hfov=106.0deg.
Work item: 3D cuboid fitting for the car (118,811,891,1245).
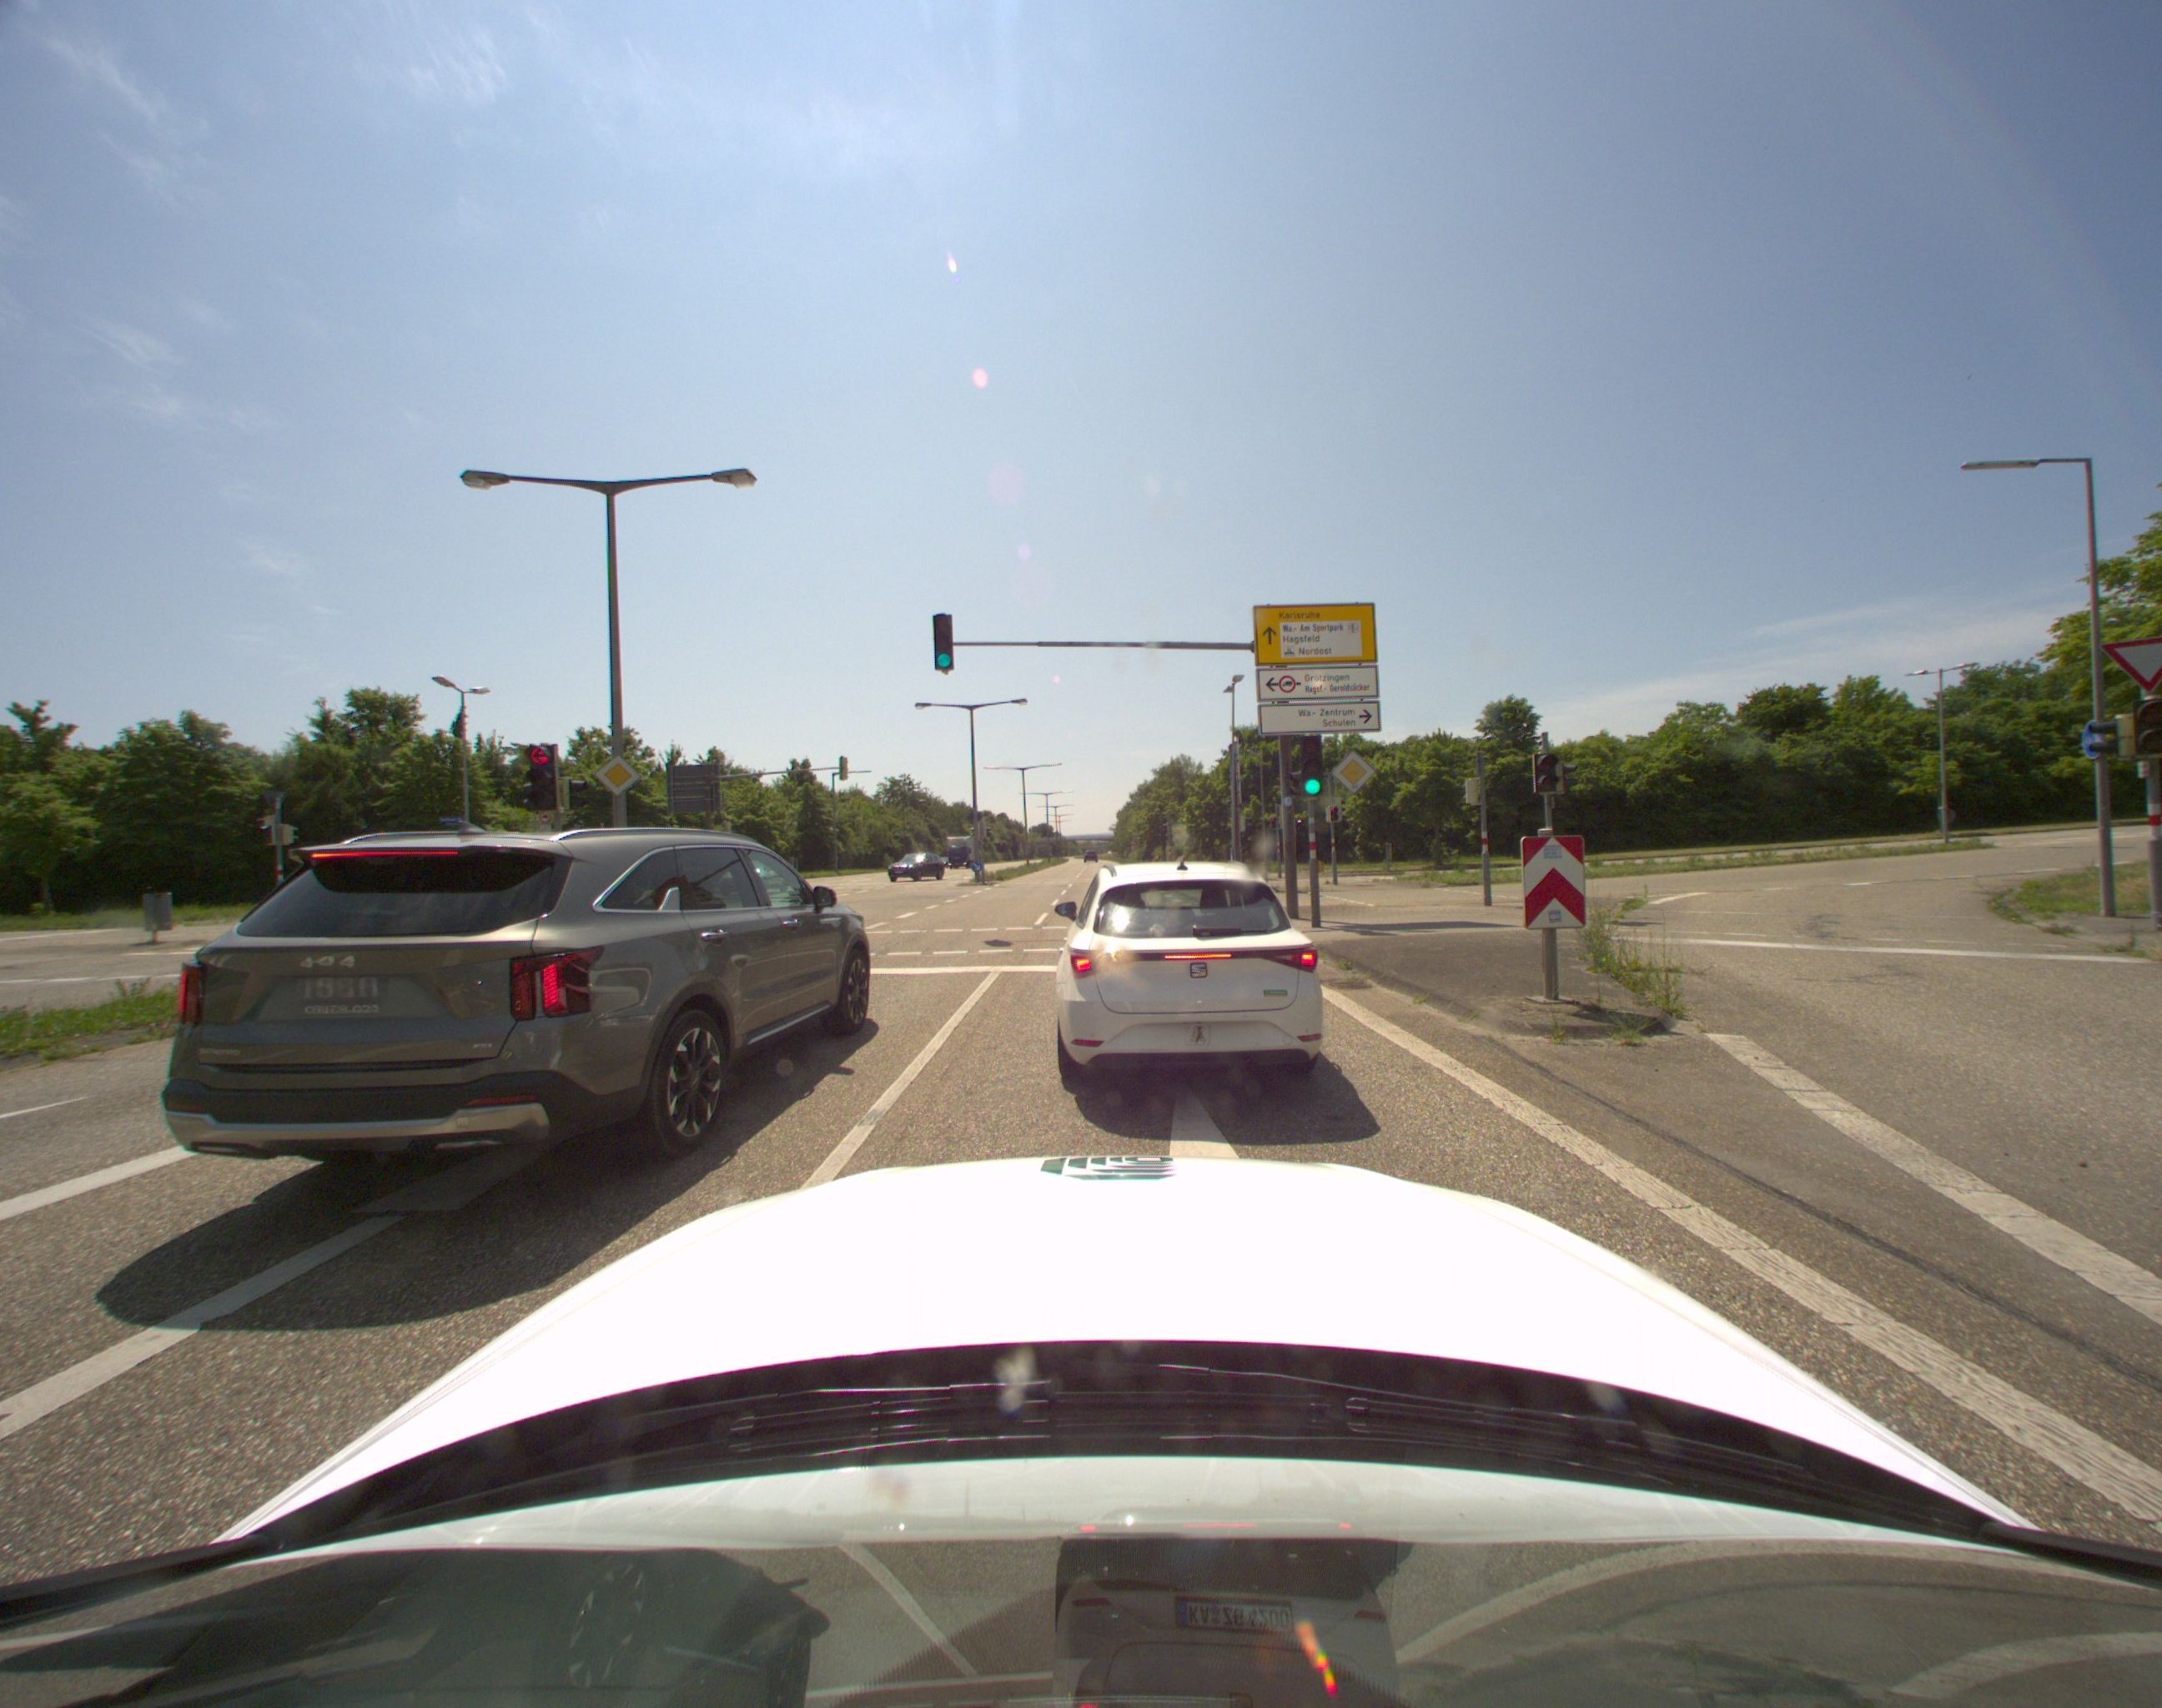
[{"bbox_3d":[-2.833,0.691,5.545,1.797,1.662,4.646,-2,0,2],"label":"car"}]

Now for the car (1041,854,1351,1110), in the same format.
[{"bbox_3d":[0.705,0.736,6.436,1.728,1.428,3.696,0,-1,2],"label":"car"}]

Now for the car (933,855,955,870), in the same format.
[{"bbox_3d":[-17.108,1.082,101.941,1.816,1.732,4.928,-2,0,2],"label":"car"}]

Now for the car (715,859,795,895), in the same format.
[{"bbox_3d":[-14.807,1.001,37.210,1.816,1.455,4.170,-2,0,2],"label":"car"}]

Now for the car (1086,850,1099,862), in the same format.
[{"bbox_3d":[1.707,0.330,123.245,1.850,1.709,3.998,-2,0,-1],"label":"car"}]

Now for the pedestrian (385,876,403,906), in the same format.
[{"bbox_3d":[-37.536,2.021,44.493,0.620,1.603,0.790,-2,0,-34],"label":"pedestrian"}]

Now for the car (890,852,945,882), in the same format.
[{"bbox_3d":[-9.900,0.736,49.548,1.696,1.663,4.236,-2,0,11],"label":"car"}]

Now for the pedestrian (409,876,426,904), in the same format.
[{"bbox_3d":[-36.687,1.987,45.020,0.620,1.503,0.790,-2,0,-34],"label":"pedestrian"}]

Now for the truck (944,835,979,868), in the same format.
[{"bbox_3d":[-13.615,-0.273,93.108,2.677,3.570,7.269,-2,0,1],"label":"truck"}]
